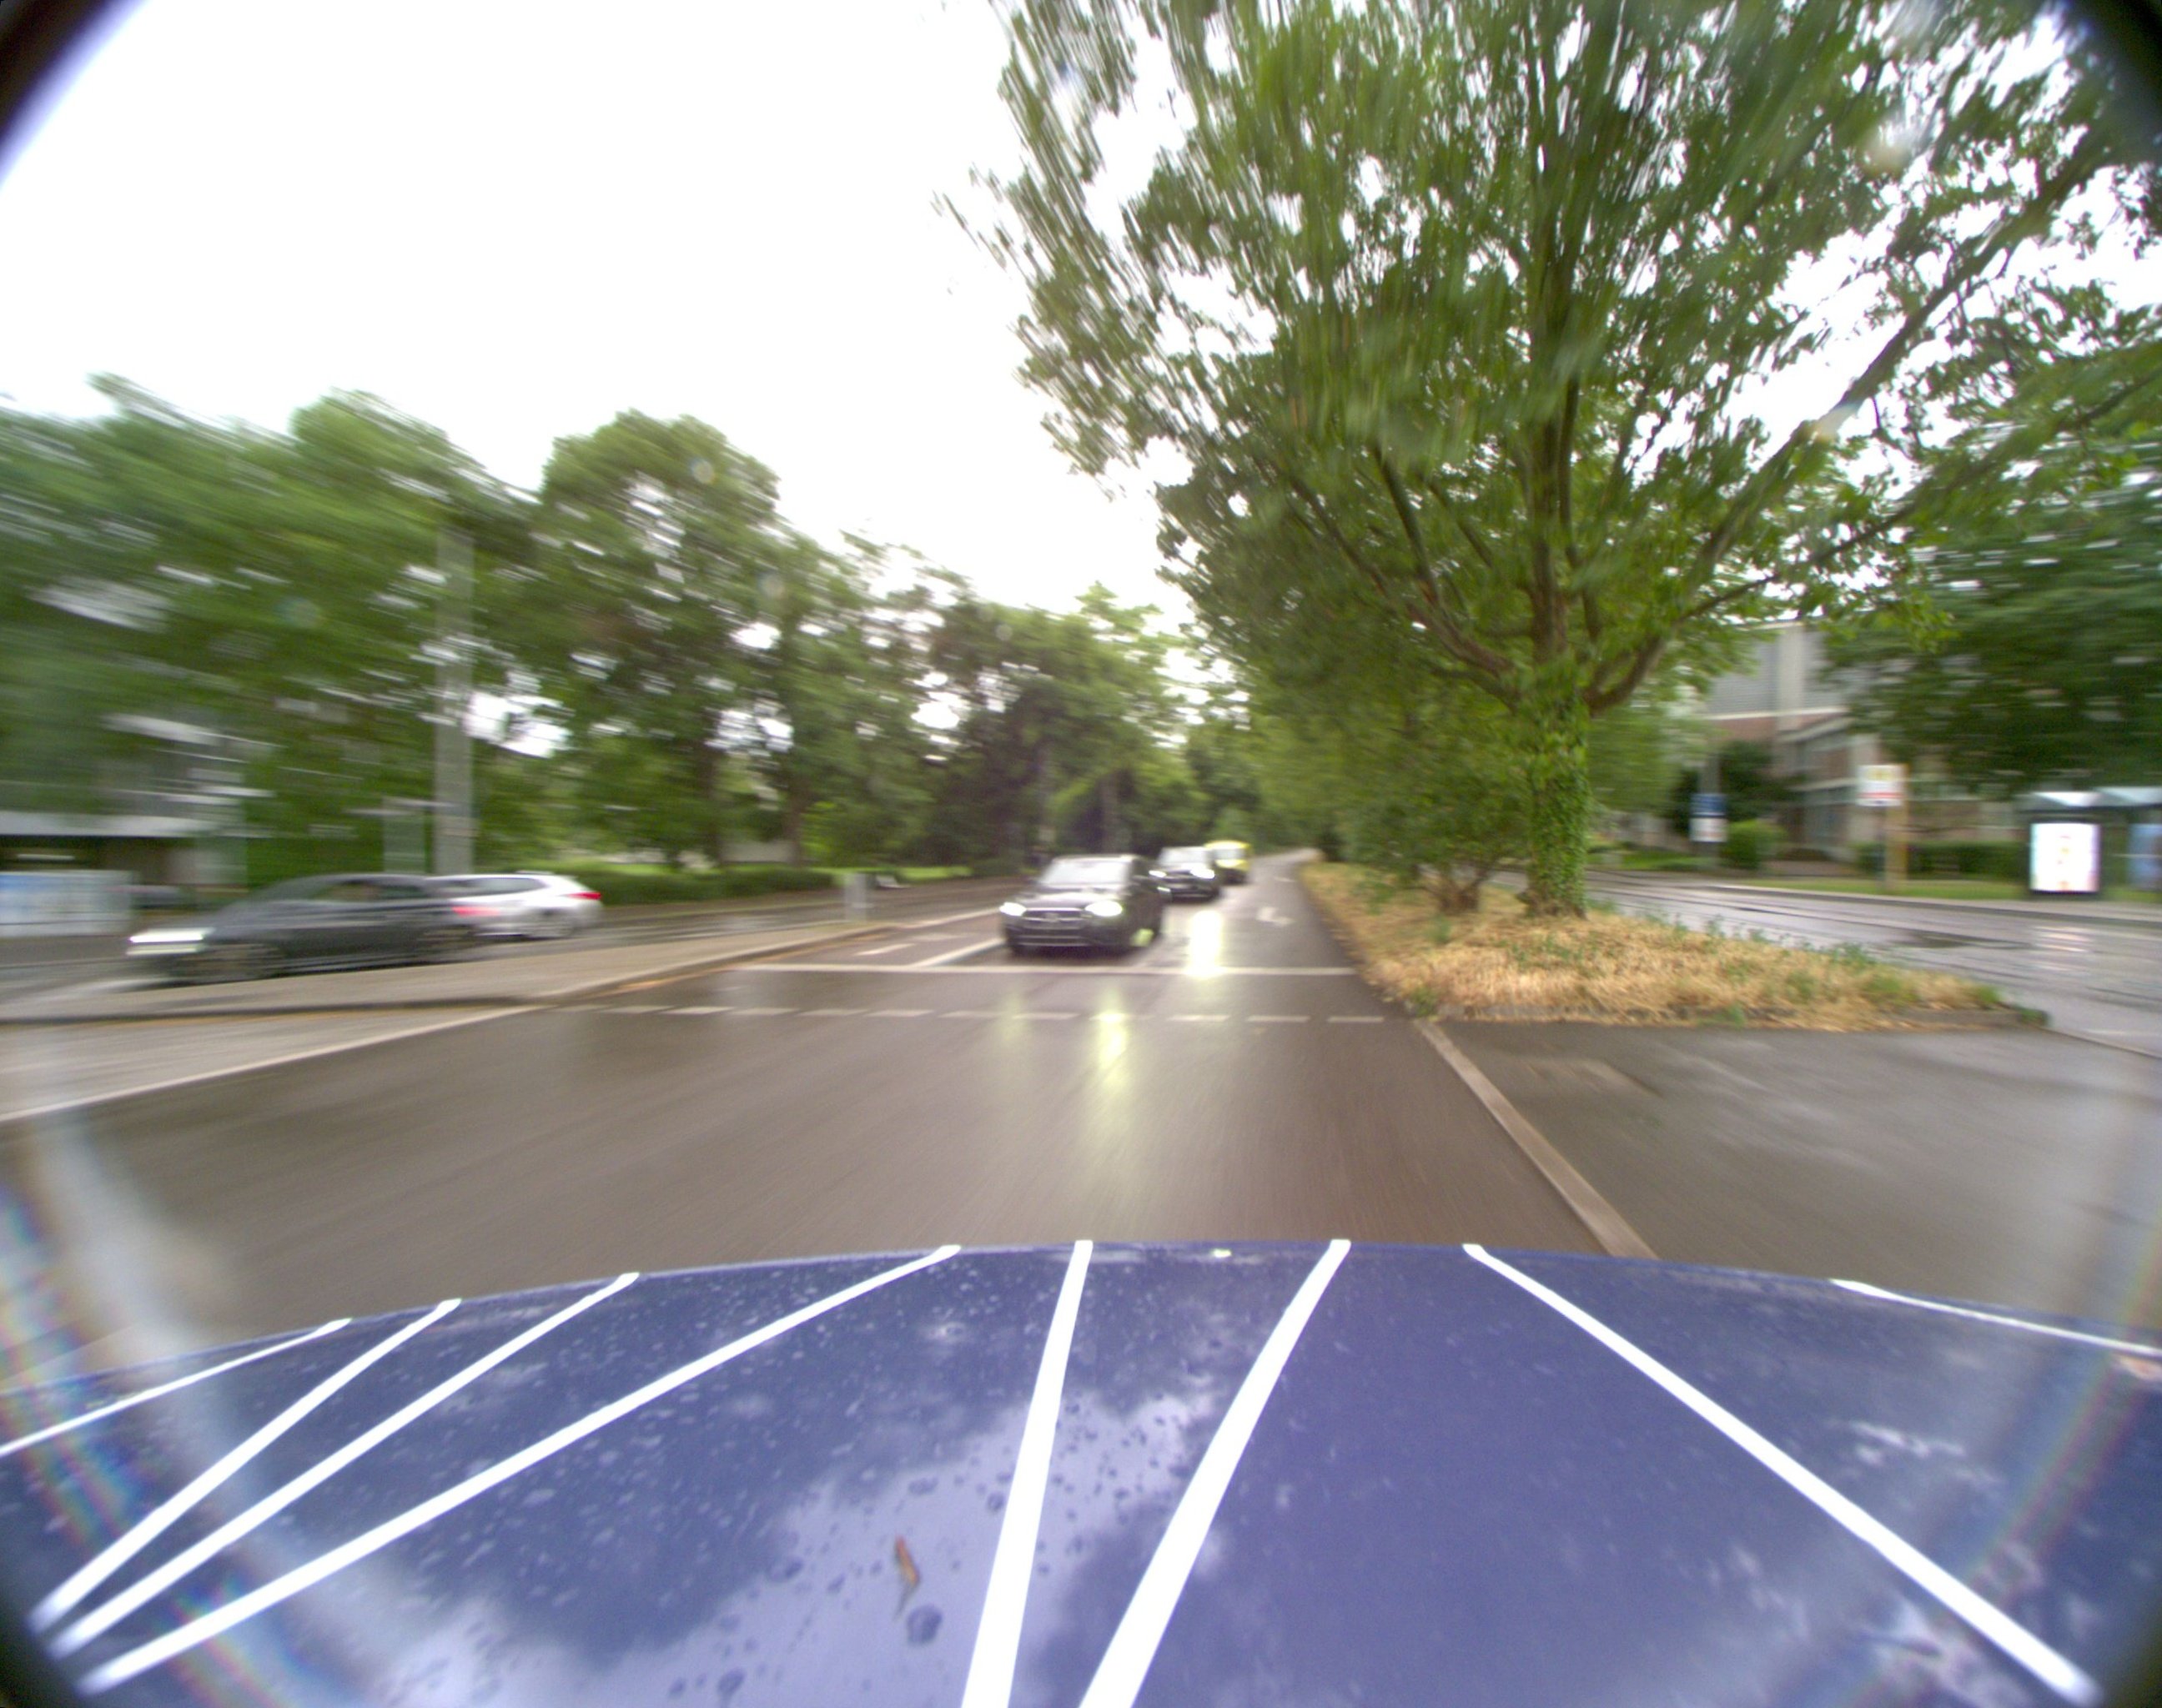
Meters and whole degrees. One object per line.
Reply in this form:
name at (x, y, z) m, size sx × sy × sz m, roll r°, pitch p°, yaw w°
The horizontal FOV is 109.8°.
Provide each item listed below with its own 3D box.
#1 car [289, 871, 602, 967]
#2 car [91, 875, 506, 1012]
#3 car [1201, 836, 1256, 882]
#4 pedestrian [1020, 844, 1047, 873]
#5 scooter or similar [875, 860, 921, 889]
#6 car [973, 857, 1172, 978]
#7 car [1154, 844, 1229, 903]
car at (-12.374, 1.149, 15.103) m, size 1.863 × 1.441 × 4.412 m, roll -1°, pitch 1°, yaw 37°
car at (-11.257, 1.137, 11.280) m, size 1.863 × 1.441 × 4.008 m, roll -1°, pitch 1°, yaw 42°
car at (6.670, 0.175, 33.944) m, size 1.882 × 1.865 × 4.747 m, roll -2°, pitch 1°, yaw 17°
pedestrian at (-2.744, 0.238, 43.750) m, size 1.060 × 1.597 × 1.068 m, roll -4°, pitch 3°, yaw -33°
scooter or similar at (-7.401, 0.825, 30.788) m, size 0.556 × 1.095 × 1.895 m, roll 4°, pitch 3°, yaw 36°
car at (0.139, 0.825, 12.317) m, size 1.882 × 1.437 × 4.935 m, roll -1°, pitch 1°, yaw 16°
car at (3.531, 0.541, 23.691) m, size 1.831 × 1.599 × 4.581 m, roll -2°, pitch 1°, yaw 14°
